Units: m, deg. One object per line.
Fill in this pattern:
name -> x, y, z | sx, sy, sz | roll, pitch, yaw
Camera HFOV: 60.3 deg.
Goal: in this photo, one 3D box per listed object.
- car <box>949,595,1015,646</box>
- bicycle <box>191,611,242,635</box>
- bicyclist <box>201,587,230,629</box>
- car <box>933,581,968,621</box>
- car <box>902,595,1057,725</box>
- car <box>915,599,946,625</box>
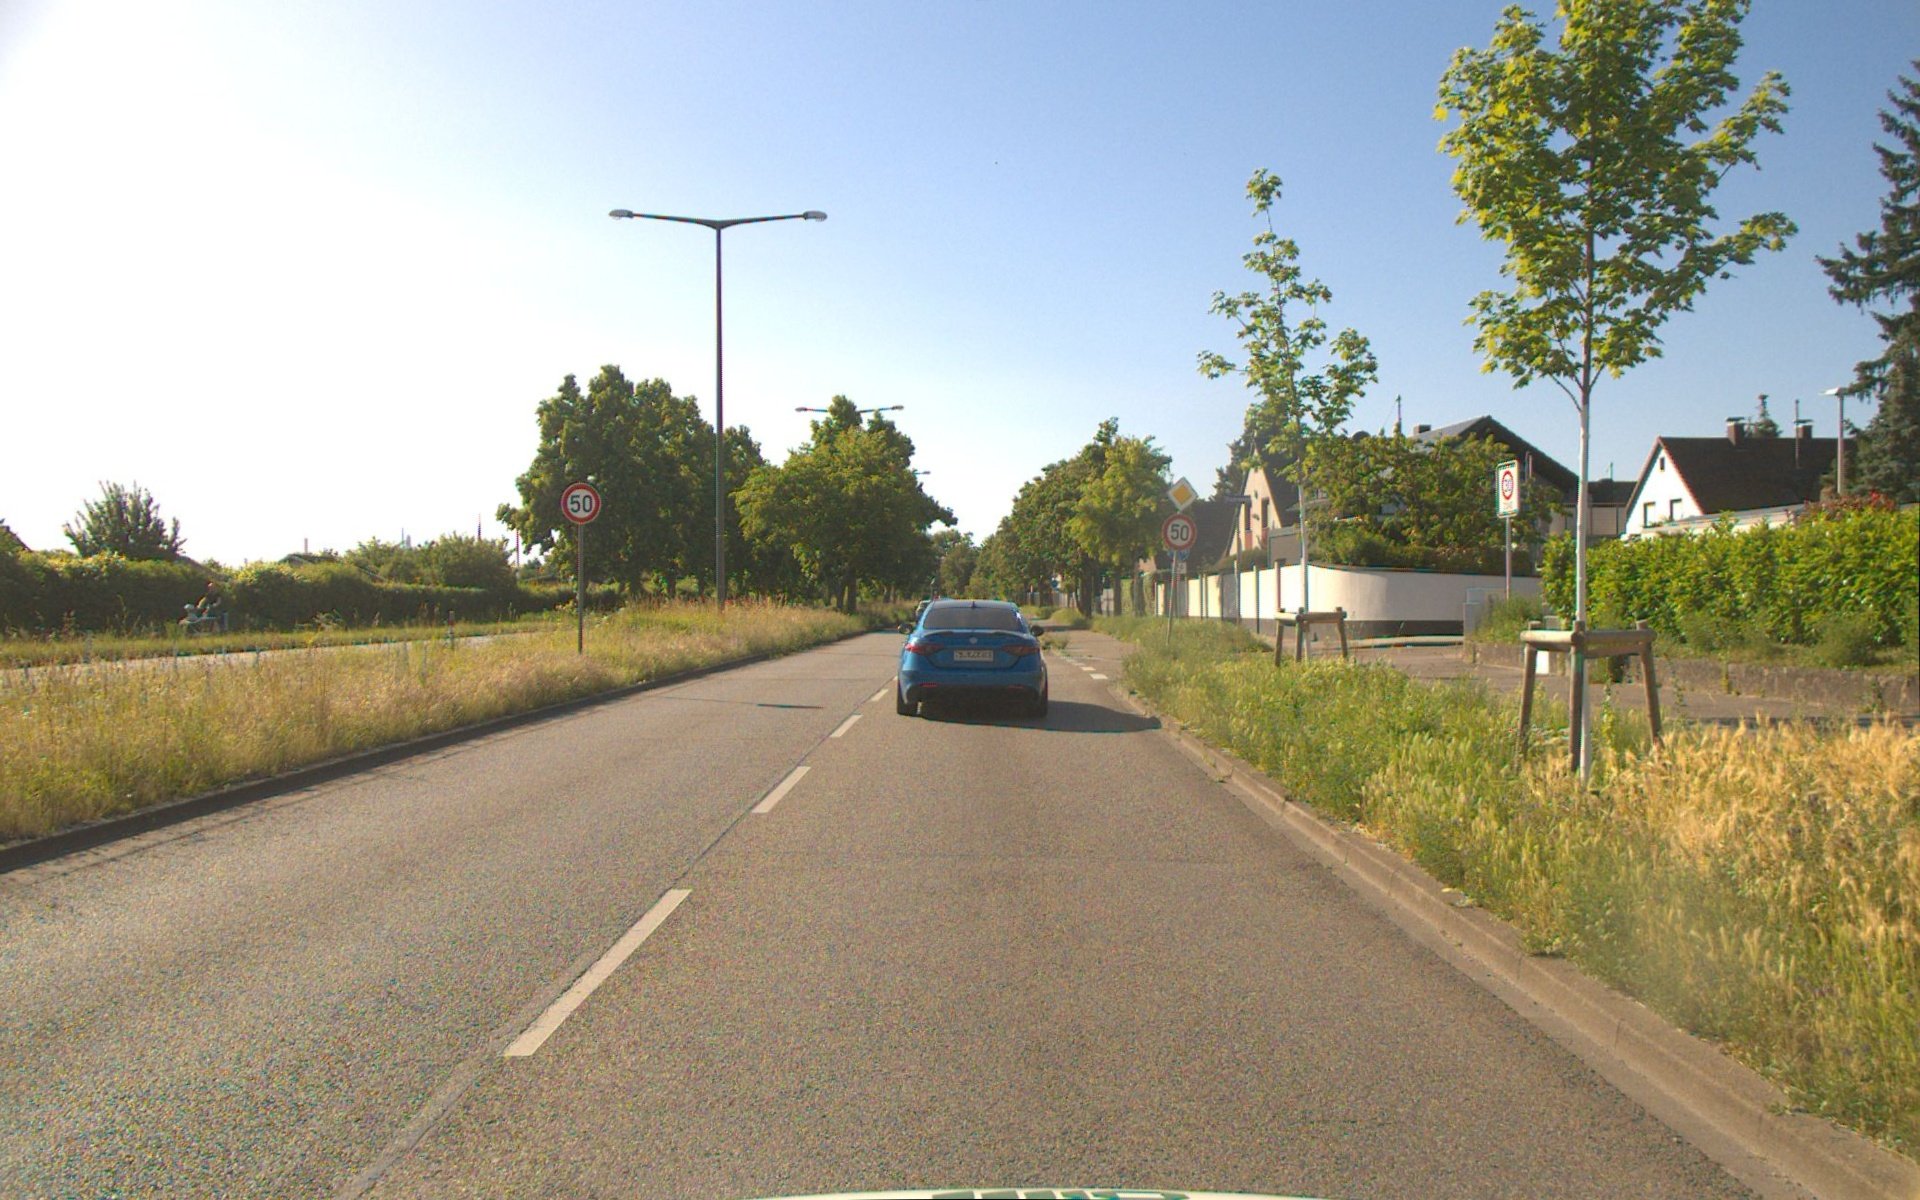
car -> 0.681, 0.640, 54.623 | 1.877, 1.607, 4.179 | 0, 0, -3
bicycle -> -23.078, 0.719, 51.386 | 0.553, 0.707, 1.876 | 0, 0, 7
bicyclist -> -23.088, 0.238, 51.295 | 0.570, 1.279, 0.576 | 0, 0, 7
car -> -0.481, 0.063, 85.870 | 1.756, 2.049, 4.000 | 0, 0, 0
car -> 0.200, 0.706, 21.562 | 1.801, 1.500, 4.183 | 1, 0, -1
car -> -1.818, 0.704, 101.542 | 1.876, 1.538, 4.066 | 0, 0, -1
